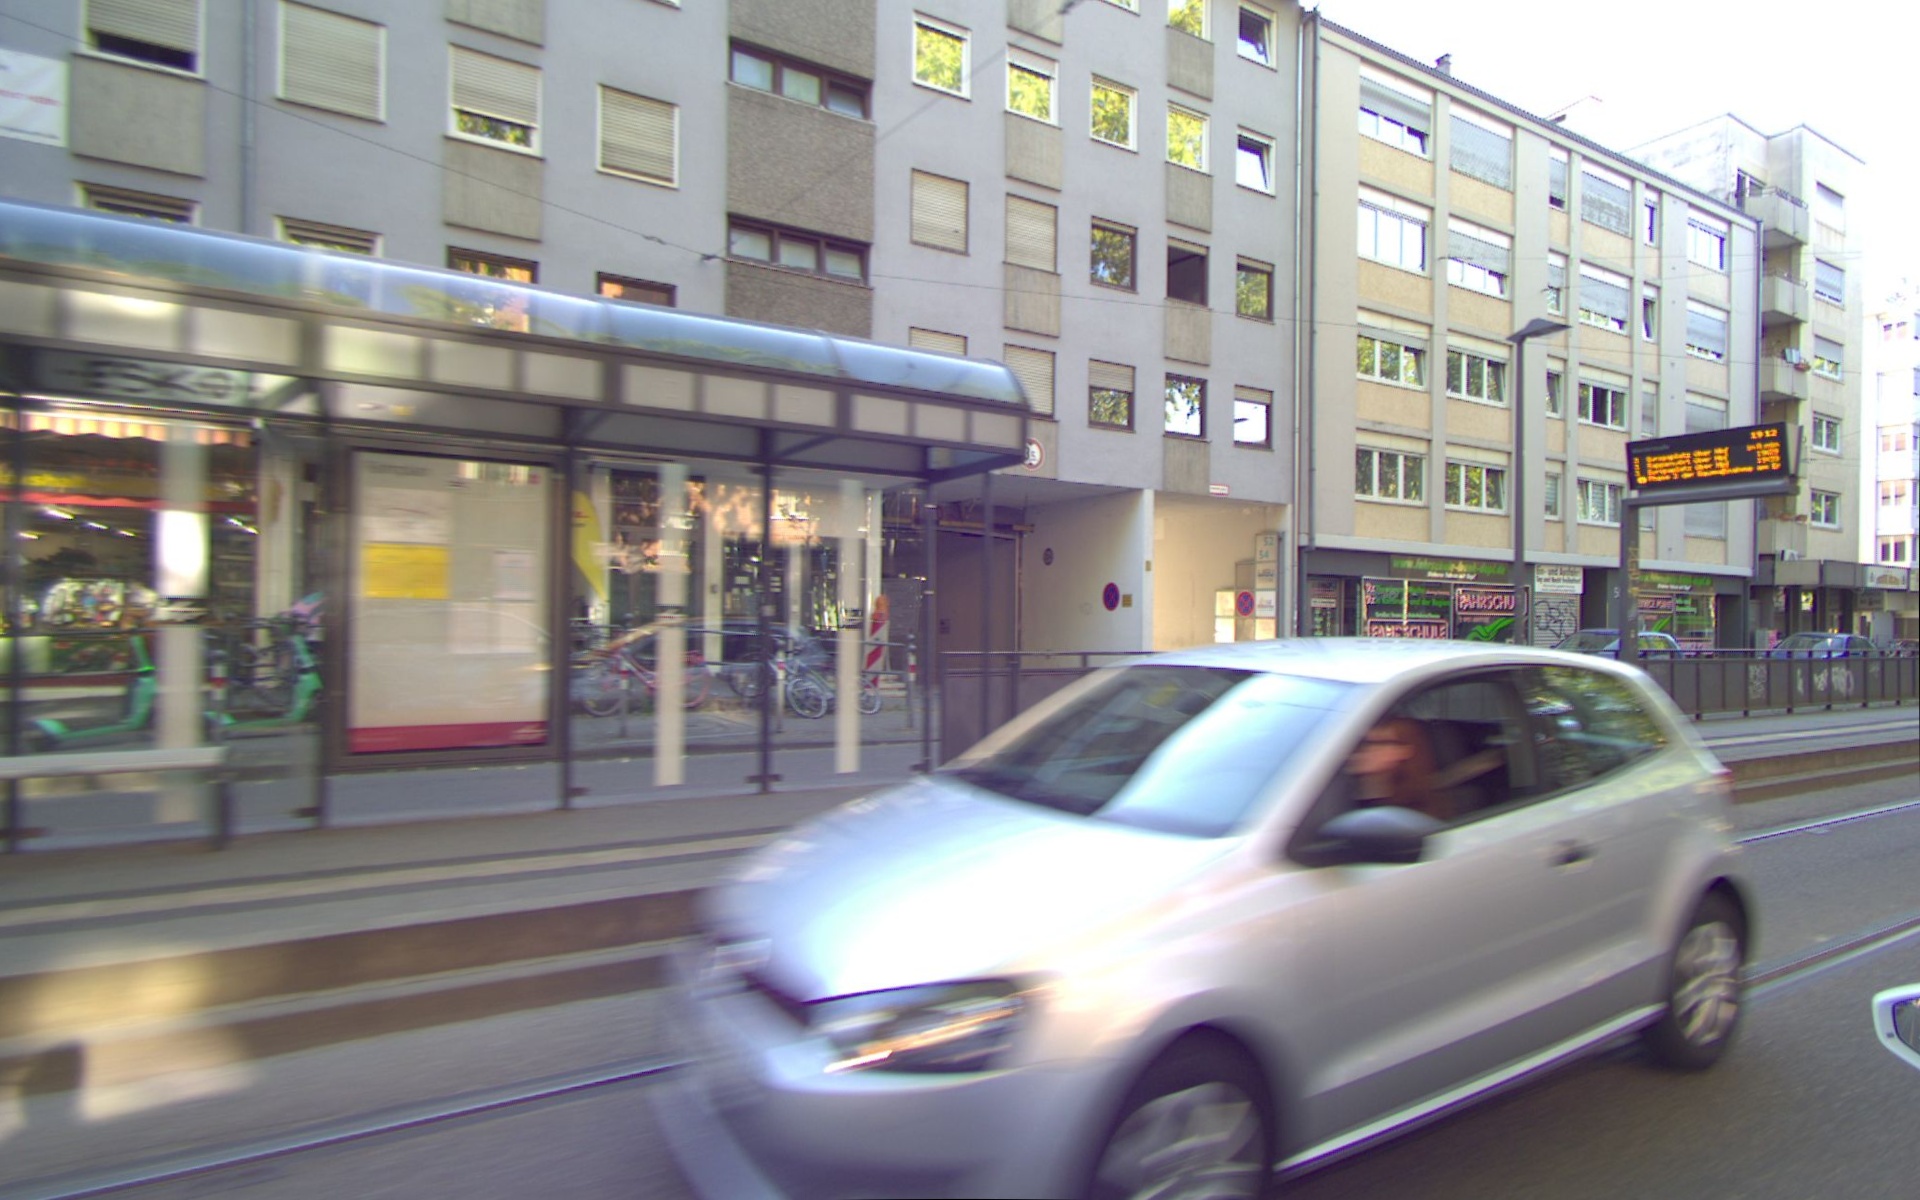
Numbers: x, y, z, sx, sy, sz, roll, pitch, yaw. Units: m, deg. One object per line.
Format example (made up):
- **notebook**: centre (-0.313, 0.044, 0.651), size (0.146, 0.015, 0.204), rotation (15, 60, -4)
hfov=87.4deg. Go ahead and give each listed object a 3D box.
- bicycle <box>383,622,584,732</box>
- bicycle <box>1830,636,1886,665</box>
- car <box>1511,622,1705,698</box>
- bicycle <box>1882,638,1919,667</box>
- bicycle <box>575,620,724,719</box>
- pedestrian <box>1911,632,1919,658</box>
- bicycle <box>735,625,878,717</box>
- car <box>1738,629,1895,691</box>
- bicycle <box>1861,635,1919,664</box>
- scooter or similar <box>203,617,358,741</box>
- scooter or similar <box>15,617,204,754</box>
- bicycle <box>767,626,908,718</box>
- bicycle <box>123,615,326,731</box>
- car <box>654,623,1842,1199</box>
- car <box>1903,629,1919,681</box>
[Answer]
- **bicycle**: centre (-5.472, 0.855, 11.618), size (2.018, 1.172, 0.566), rotation (2, -1, -36)
- **bicycle**: centre (38.982, 2.184, 43.616), size (0.563, 1.172, 1.782), rotation (1, -1, -19)
- **car**: centre (13.855, 1.234, 21.442), size (4.232, 1.483, 1.786), rotation (1, -2, -30)
- **bicycle**: centre (39.846, 2.187, 42.226), size (0.561, 1.172, 1.790), rotation (1, -1, 1)
- **bicycle**: centre (-3.903, 0.853, 12.717), size (1.735, 1.172, 0.489), rotation (1, -1, -36)
- **pedestrian**: centre (47.759, 2.228, 49.734), size (0.735, 1.258, 0.768), rotation (0, -1, 26)
- **bicycle**: centre (-2.078, 0.938, 13.811), size (0.553, 1.172, 2.018), rotation (0, -2, 44)
- **car**: centre (23.261, 1.589, 27.248), size (4.337, 1.565, 1.947), rotation (1, -2, -30)
- **bicycle**: centre (38.962, 2.049, 42.021), size (0.564, 1.172, 1.853), rotation (1, -1, -25)
- **scooter or similar**: centre (-6.889, 0.780, 10.223), size (1.263, 1.190, 0.441), rotation (1, -1, -36)
- **scooter or similar**: centre (-7.940, 0.761, 9.435), size (0.437, 1.190, 1.274), rotation (0, -1, 23)
- **bicycle**: centre (-1.644, 0.953, 13.786), size (0.553, 1.172, 2.018), rotation (0, -2, 44)
- **bicycle**: centre (-7.841, 0.759, 10.793), size (1.666, 1.172, 0.510), rotation (1, -1, -28)
- **car**: centre (1.150, 0.825, 3.497), size (3.953, 1.445, 1.753), rotation (1, -1, -30)
- **car**: centre (33.556, 1.839, 33.594), size (4.309, 1.673, 1.868), rotation (1, -2, -32)
